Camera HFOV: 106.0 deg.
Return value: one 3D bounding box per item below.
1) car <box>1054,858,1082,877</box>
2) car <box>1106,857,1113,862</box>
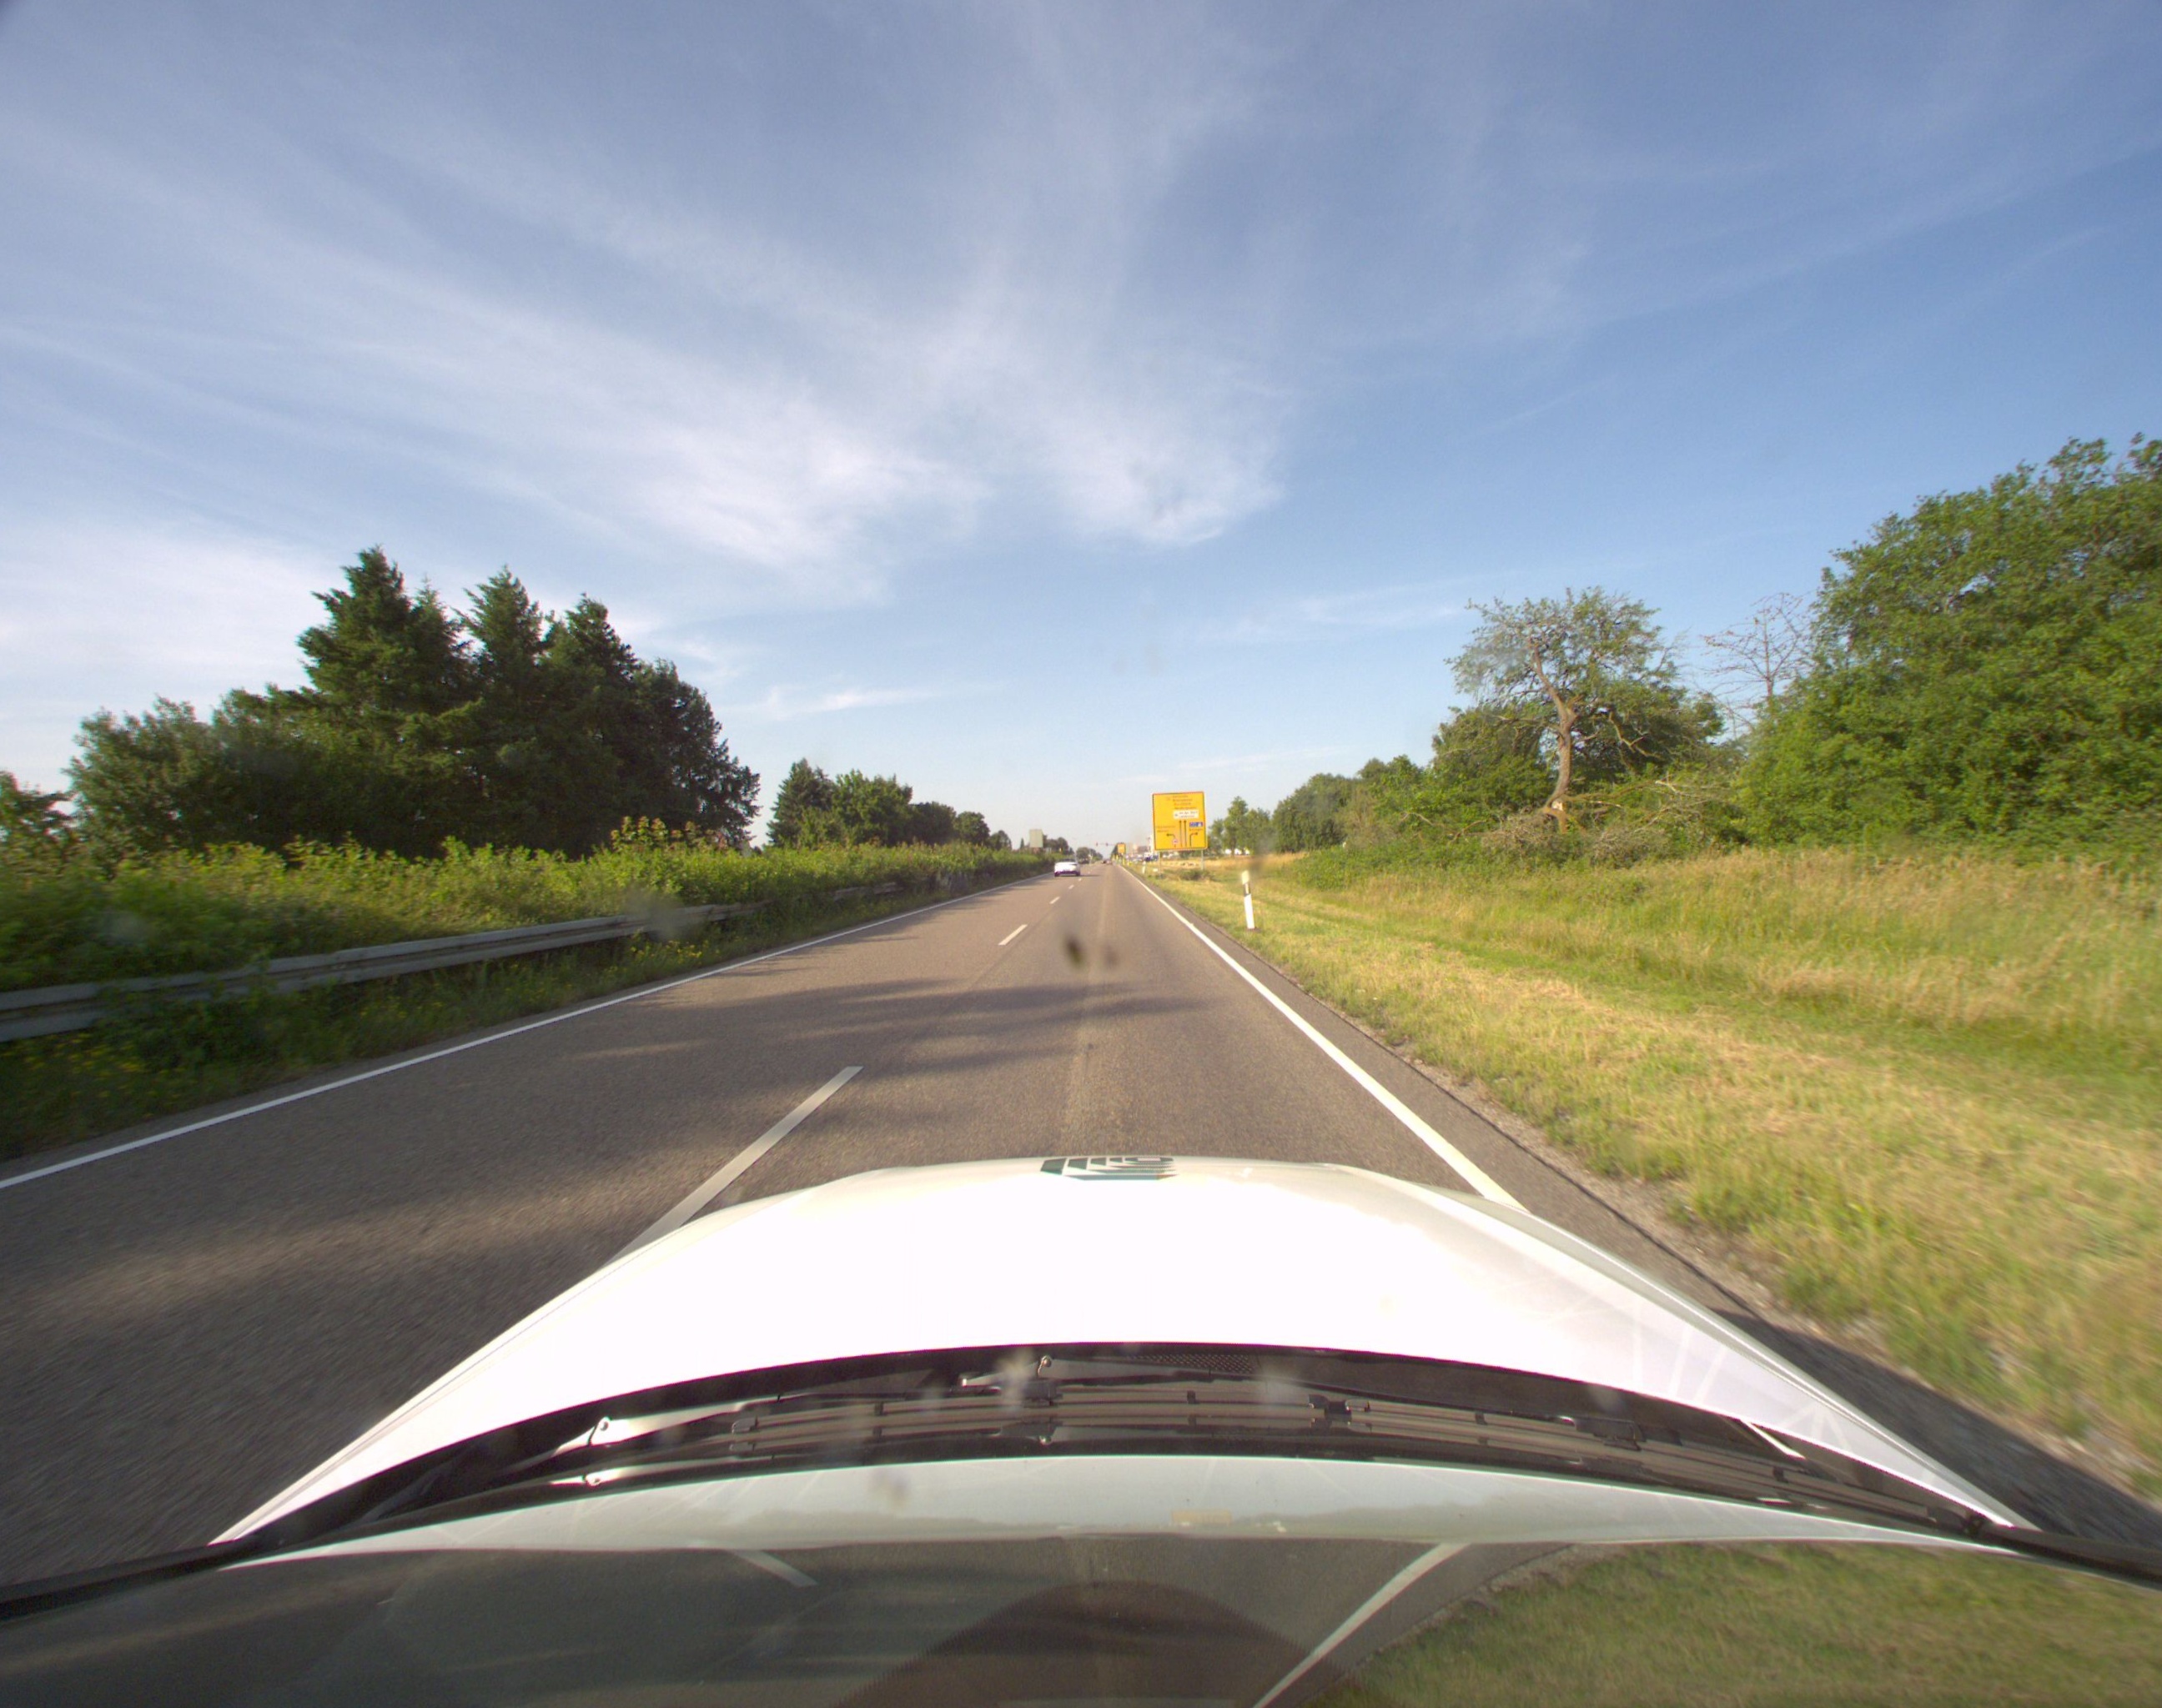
[{"bbox_3d":[-0.930,0.996,61.584,1.903,1.422,4.001,-1,0,1],"label":"car"},{"bbox_3d":[8.150,1.541,236.773,1.986,1.486,4.001,-1,0,1],"label":"car"}]
